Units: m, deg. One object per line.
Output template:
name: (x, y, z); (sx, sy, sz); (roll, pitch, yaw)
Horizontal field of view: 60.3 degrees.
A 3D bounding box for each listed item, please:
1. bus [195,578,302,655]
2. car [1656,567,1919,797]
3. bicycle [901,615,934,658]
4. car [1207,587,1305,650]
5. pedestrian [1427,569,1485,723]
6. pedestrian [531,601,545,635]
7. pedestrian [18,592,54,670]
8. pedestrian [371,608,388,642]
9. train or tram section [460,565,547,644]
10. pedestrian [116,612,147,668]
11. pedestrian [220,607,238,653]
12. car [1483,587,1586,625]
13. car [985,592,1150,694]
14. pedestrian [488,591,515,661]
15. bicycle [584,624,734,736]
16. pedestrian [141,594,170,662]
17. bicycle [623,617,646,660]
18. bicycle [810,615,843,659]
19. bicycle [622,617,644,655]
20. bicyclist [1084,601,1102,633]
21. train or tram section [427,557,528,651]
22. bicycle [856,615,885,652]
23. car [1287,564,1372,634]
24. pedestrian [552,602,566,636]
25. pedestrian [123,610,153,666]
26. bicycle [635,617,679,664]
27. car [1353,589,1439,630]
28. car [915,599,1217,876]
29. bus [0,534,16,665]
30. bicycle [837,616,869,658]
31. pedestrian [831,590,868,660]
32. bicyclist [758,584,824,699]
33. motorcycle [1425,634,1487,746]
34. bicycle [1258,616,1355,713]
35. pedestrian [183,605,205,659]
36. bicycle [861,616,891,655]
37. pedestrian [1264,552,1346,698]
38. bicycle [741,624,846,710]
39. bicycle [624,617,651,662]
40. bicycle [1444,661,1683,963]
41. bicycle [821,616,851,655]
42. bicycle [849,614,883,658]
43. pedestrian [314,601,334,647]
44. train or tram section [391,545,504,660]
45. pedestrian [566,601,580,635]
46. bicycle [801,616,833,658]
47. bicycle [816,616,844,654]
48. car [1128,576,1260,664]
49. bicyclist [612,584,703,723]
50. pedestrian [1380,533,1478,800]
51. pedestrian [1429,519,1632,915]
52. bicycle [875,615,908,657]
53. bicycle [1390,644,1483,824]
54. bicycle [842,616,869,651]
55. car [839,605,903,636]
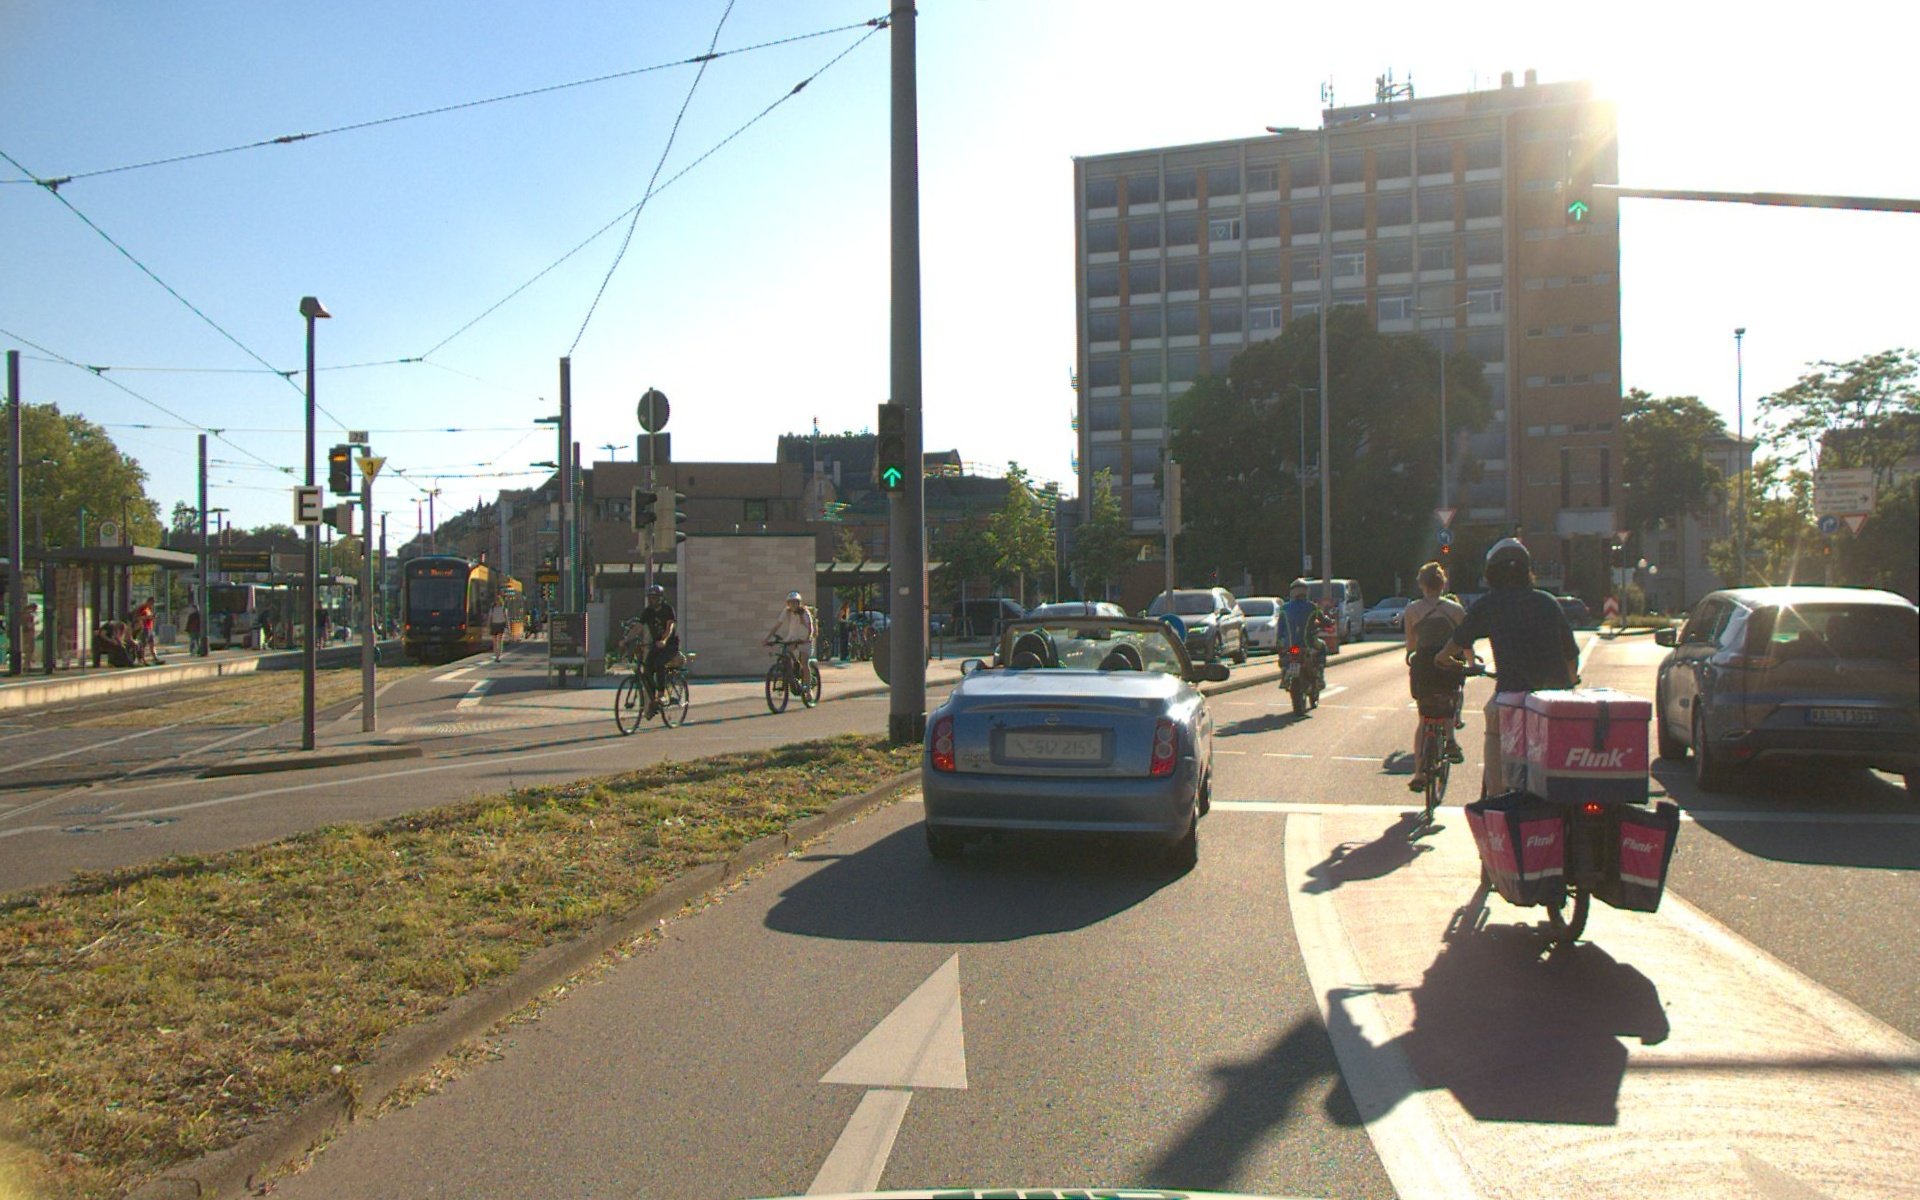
bus: (-33.474, 0.743, 78.308); (2.675, 3.331, 13.410); (1, -1, -15)
car: (7.380, 0.643, 14.689); (1.793, 1.719, 4.370); (1, -1, 18)
bicycle: (-1.157, 0.978, 44.745); (0.596, 1.134, 1.892); (1, -1, -10)
car: (7.970, 0.470, 44.308); (1.660, 1.588, 3.977); (-1, 0, 24)
pedestrian: (5.422, 0.495, 18.090); (0.575, 1.626, 1.025); (1, -1, 16)
pedestrian: (-22.610, 0.975, 88.583); (0.593, 1.779, 0.830); (-1, 0, -9)
pedestrian: (-21.437, 0.718, 38.377); (0.527, 1.779, 0.559); (-1, 0, -7)
pedestrian: (-31.204, 1.342, 88.945); (0.720, 1.779, 0.638); (-1, 0, -9)
train or tram section: (-22.818, 0.237, 83.262); (2.985, 3.660, 12.021); (1, -1, -10)
pedestrian: (-20.489, 0.996, 40.894); (0.606, 1.364, 0.438); (-1, 0, -18)
pedestrian: (-28.615, 1.165, 64.744); (0.562, 1.779, 0.636); (-1, 0, -20)
car: (25.449, 0.283, 73.340); (3.912, 1.557, 1.802); (-2, -1, -8)
car: (1.927, 0.716, 28.462); (1.701, 1.601, 3.924); (1, -1, 21)
pedestrian: (-11.798, 0.659, 42.565); (0.628, 1.779, 0.569); (-1, 0, -20)
bicycle: (-3.766, 0.977, 20.948); (0.660, 1.272, 2.457); (-3, -1, 20)
pedestrian: (-21.124, 0.731, 43.428); (0.561, 1.779, 0.636); (-1, 0, -18)
bicycle: (-8.854, 1.026, 44.984); (0.596, 1.134, 1.891); (1, -1, -11)
bicycle: (-3.584, 0.991, 44.242); (0.596, 1.134, 1.890); (1, -1, -13)
bicycle: (-10.060, 1.095, 50.832); (0.596, 1.134, 1.890); (1, -1, -13)
bicyclist: (6.965, 0.893, 86.627); (0.737, 1.626, 0.588); (1, -1, 29)
train or tram section: (-20.646, 0.177, 71.388); (2.958, 3.660, 12.166); (1, -1, -11)
bicycle: (-2.833, 1.067, 52.380); (0.596, 1.134, 1.890); (1, -1, -13)
car: (11.441, -0.020, 50.968); (1.869, 1.979, 4.707); (-3, -1, 20)
pedestrian: (-21.070, 1.013, 86.908); (0.628, 1.779, 0.732); (-1, 0, -20)
pedestrian: (-20.653, 0.945, 41.574); (0.561, 1.369, 0.636); (-1, 0, -18)
bicycle: (-7.582, 1.009, 41.485); (0.594, 1.134, 1.898); (1, -1, 5)
car: (17.966, 0.378, 68.055); (1.773, 1.557, 3.975); (-2, -1, 42)
car: (0.891, 0.765, 11.106); (1.625, 1.466, 4.158); (1, -1, 9)
bus: (-23.913, -0.060, 36.169); (2.606, 3.190, 9.618); (1, -1, -11)
bicycle: (-3.000, 1.019, 46.329); (0.596, 1.134, 1.890); (1, -1, -13)
pedestrian: (-3.040, 0.683, 45.381); (0.885, 1.901, 0.685); (1, -1, -14)
bicyclist: (-2.517, 0.612, 24.705); (0.694, 1.686, 0.743); (-1, -1, 21)
motorcycle: (5.407, 0.939, 18.068); (0.600, 1.117, 2.361); (1, -1, 16)
bicycle: (4.661, 0.837, 22.132); (0.596, 1.212, 2.411); (1, -1, 28)
pedestrian: (-25.508, 1.060, 55.088); (0.630, 1.779, 0.567); (-1, -1, -28)
bicycle: (-2.565, 1.078, 50.415); (0.596, 1.134, 1.890); (1, -1, -13)
pedestrian: (4.618, 0.332, 22.134); (0.817, 1.901, 0.919); (1, -1, 29)
bicycle: (-2.468, 0.982, 24.820); (0.660, 1.201, 2.183); (-1, 0, 20)
bicycle: (-8.405, 1.018, 43.069); (0.596, 1.134, 1.890); (1, -1, -13)
bicycle: (2.893, 0.937, 8.164); (0.542, 1.192, 2.374); (1, -1, 6)
bicycle: (-3.768, 1.072, 50.182); (0.596, 1.134, 1.890); (1, -1, -13)
bicycle: (-2.534, 0.951, 44.409); (0.596, 1.134, 1.890); (1, -1, -13)
pedestrian: (-24.885, 0.923, 64.699); (0.630, 1.779, 0.567); (-1, -1, -28)
train or tram section: (-18.205, 0.110, 59.458); (2.831, 3.660, 12.159); (1, -1, -13)
pedestrian: (-20.396, 0.946, 87.131); (0.628, 1.779, 0.732); (-1, 0, -20)
bicycle: (-4.012, 1.012, 46.309); (0.596, 1.134, 1.890); (1, -1, -13)
bicycle: (-4.117, 1.096, 52.141); (0.596, 1.134, 1.890); (1, -1, -13)
car: (5.169, 0.407, 35.972); (1.725, 1.736, 4.529); (-3, -1, 22)
bicyclist: (-3.810, 0.665, 20.880); (0.694, 1.686, 0.901); (-3, -1, 21)
pedestrian: (3.469, 0.476, 12.291); (0.645, 1.901, 0.873); (1, -1, 14)
pedestrian: (2.906, 0.565, 8.511); (0.789, 1.901, 0.957); (1, -1, 7)
bicycle: (-1.940, 1.008, 46.743); (0.596, 1.134, 1.890); (1, -1, -13)
bicycle: (3.471, 0.931, 12.154); (0.552, 1.171, 1.951); (1, -1, 13)
bicycle: (-3.547, 1.124, 55.868); (0.596, 1.134, 1.890); (1, -1, -13)
car: (-4.723, 1.077, 87.578); (1.629, 1.588, 3.548); (-1, 0, -40)
